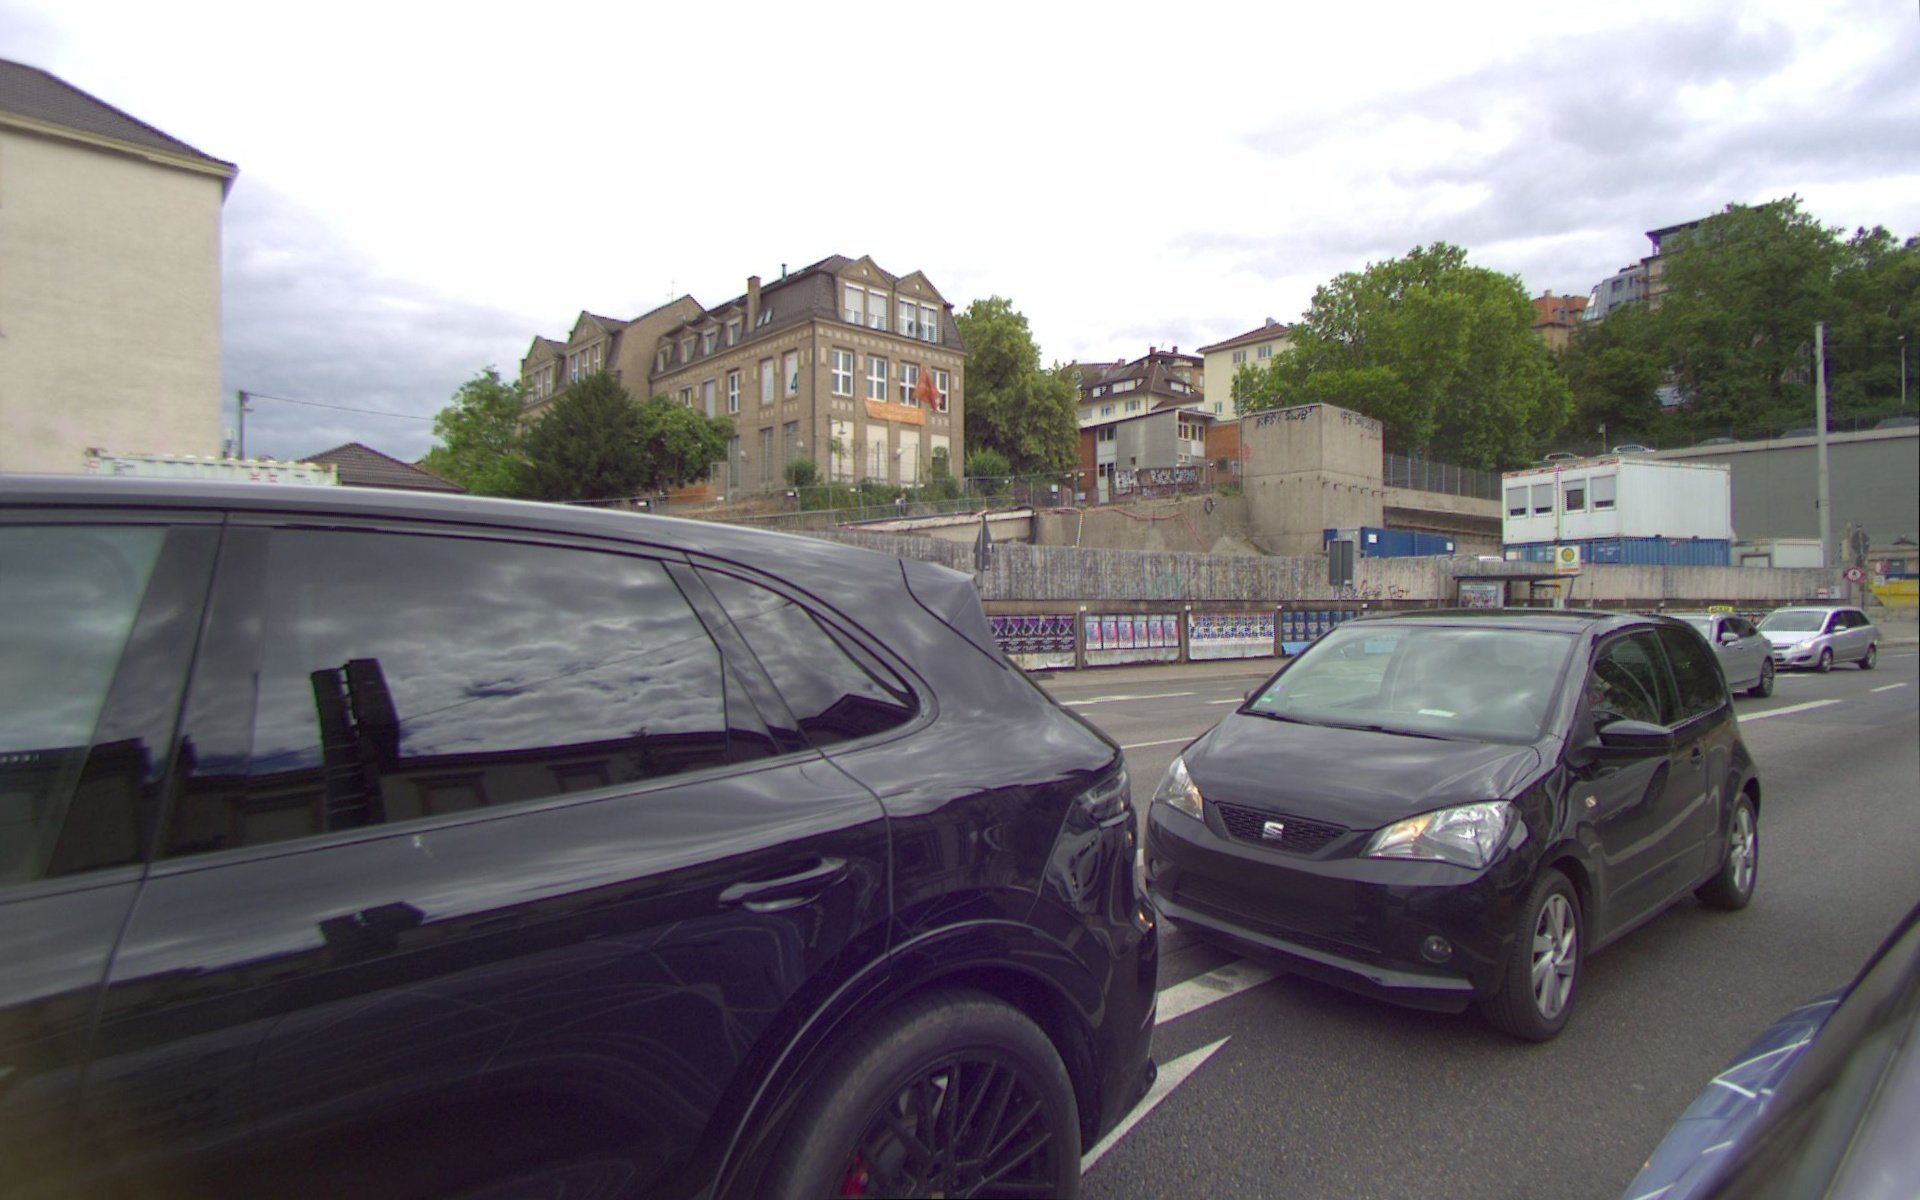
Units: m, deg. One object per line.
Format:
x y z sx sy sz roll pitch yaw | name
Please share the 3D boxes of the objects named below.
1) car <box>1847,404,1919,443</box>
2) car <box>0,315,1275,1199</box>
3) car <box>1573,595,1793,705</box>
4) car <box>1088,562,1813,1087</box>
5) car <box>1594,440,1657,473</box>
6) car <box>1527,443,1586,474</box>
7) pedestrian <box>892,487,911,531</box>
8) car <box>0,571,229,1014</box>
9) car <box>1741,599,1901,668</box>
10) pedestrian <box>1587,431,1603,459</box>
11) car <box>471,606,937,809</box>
64.145 -12.197 70.071 1.966 2.039 3.991 0 1 -43 | car
-1.621 0.578 1.713 4.552 1.707 1.959 0 -1 -40 | car
12.158 0.729 16.901 4.570 1.591 1.826 0 0 -39 | car
2.527 0.654 4.799 3.812 1.515 1.667 0 -1 -40 | car
53.555 -11.510 81.460 3.988 2.039 1.968 0 1 45 | car
50.238 -11.917 85.249 3.988 2.039 1.968 0 1 45 | car
-2.847 -4.434 49.429 0.656 2.039 0.644 0 0 -45 | pedestrian
-4.883 0.687 3.431 3.812 1.563 1.667 0 -1 -40 | car
21.696 0.789 25.472 4.460 1.579 1.707 0 0 -31 | car
50.505 -12.345 80.519 0.891 2.039 0.849 0 -1 -45 | pedestrian
-2.276 0.824 9.510 3.927 1.498 1.663 0 -1 -38 | car
